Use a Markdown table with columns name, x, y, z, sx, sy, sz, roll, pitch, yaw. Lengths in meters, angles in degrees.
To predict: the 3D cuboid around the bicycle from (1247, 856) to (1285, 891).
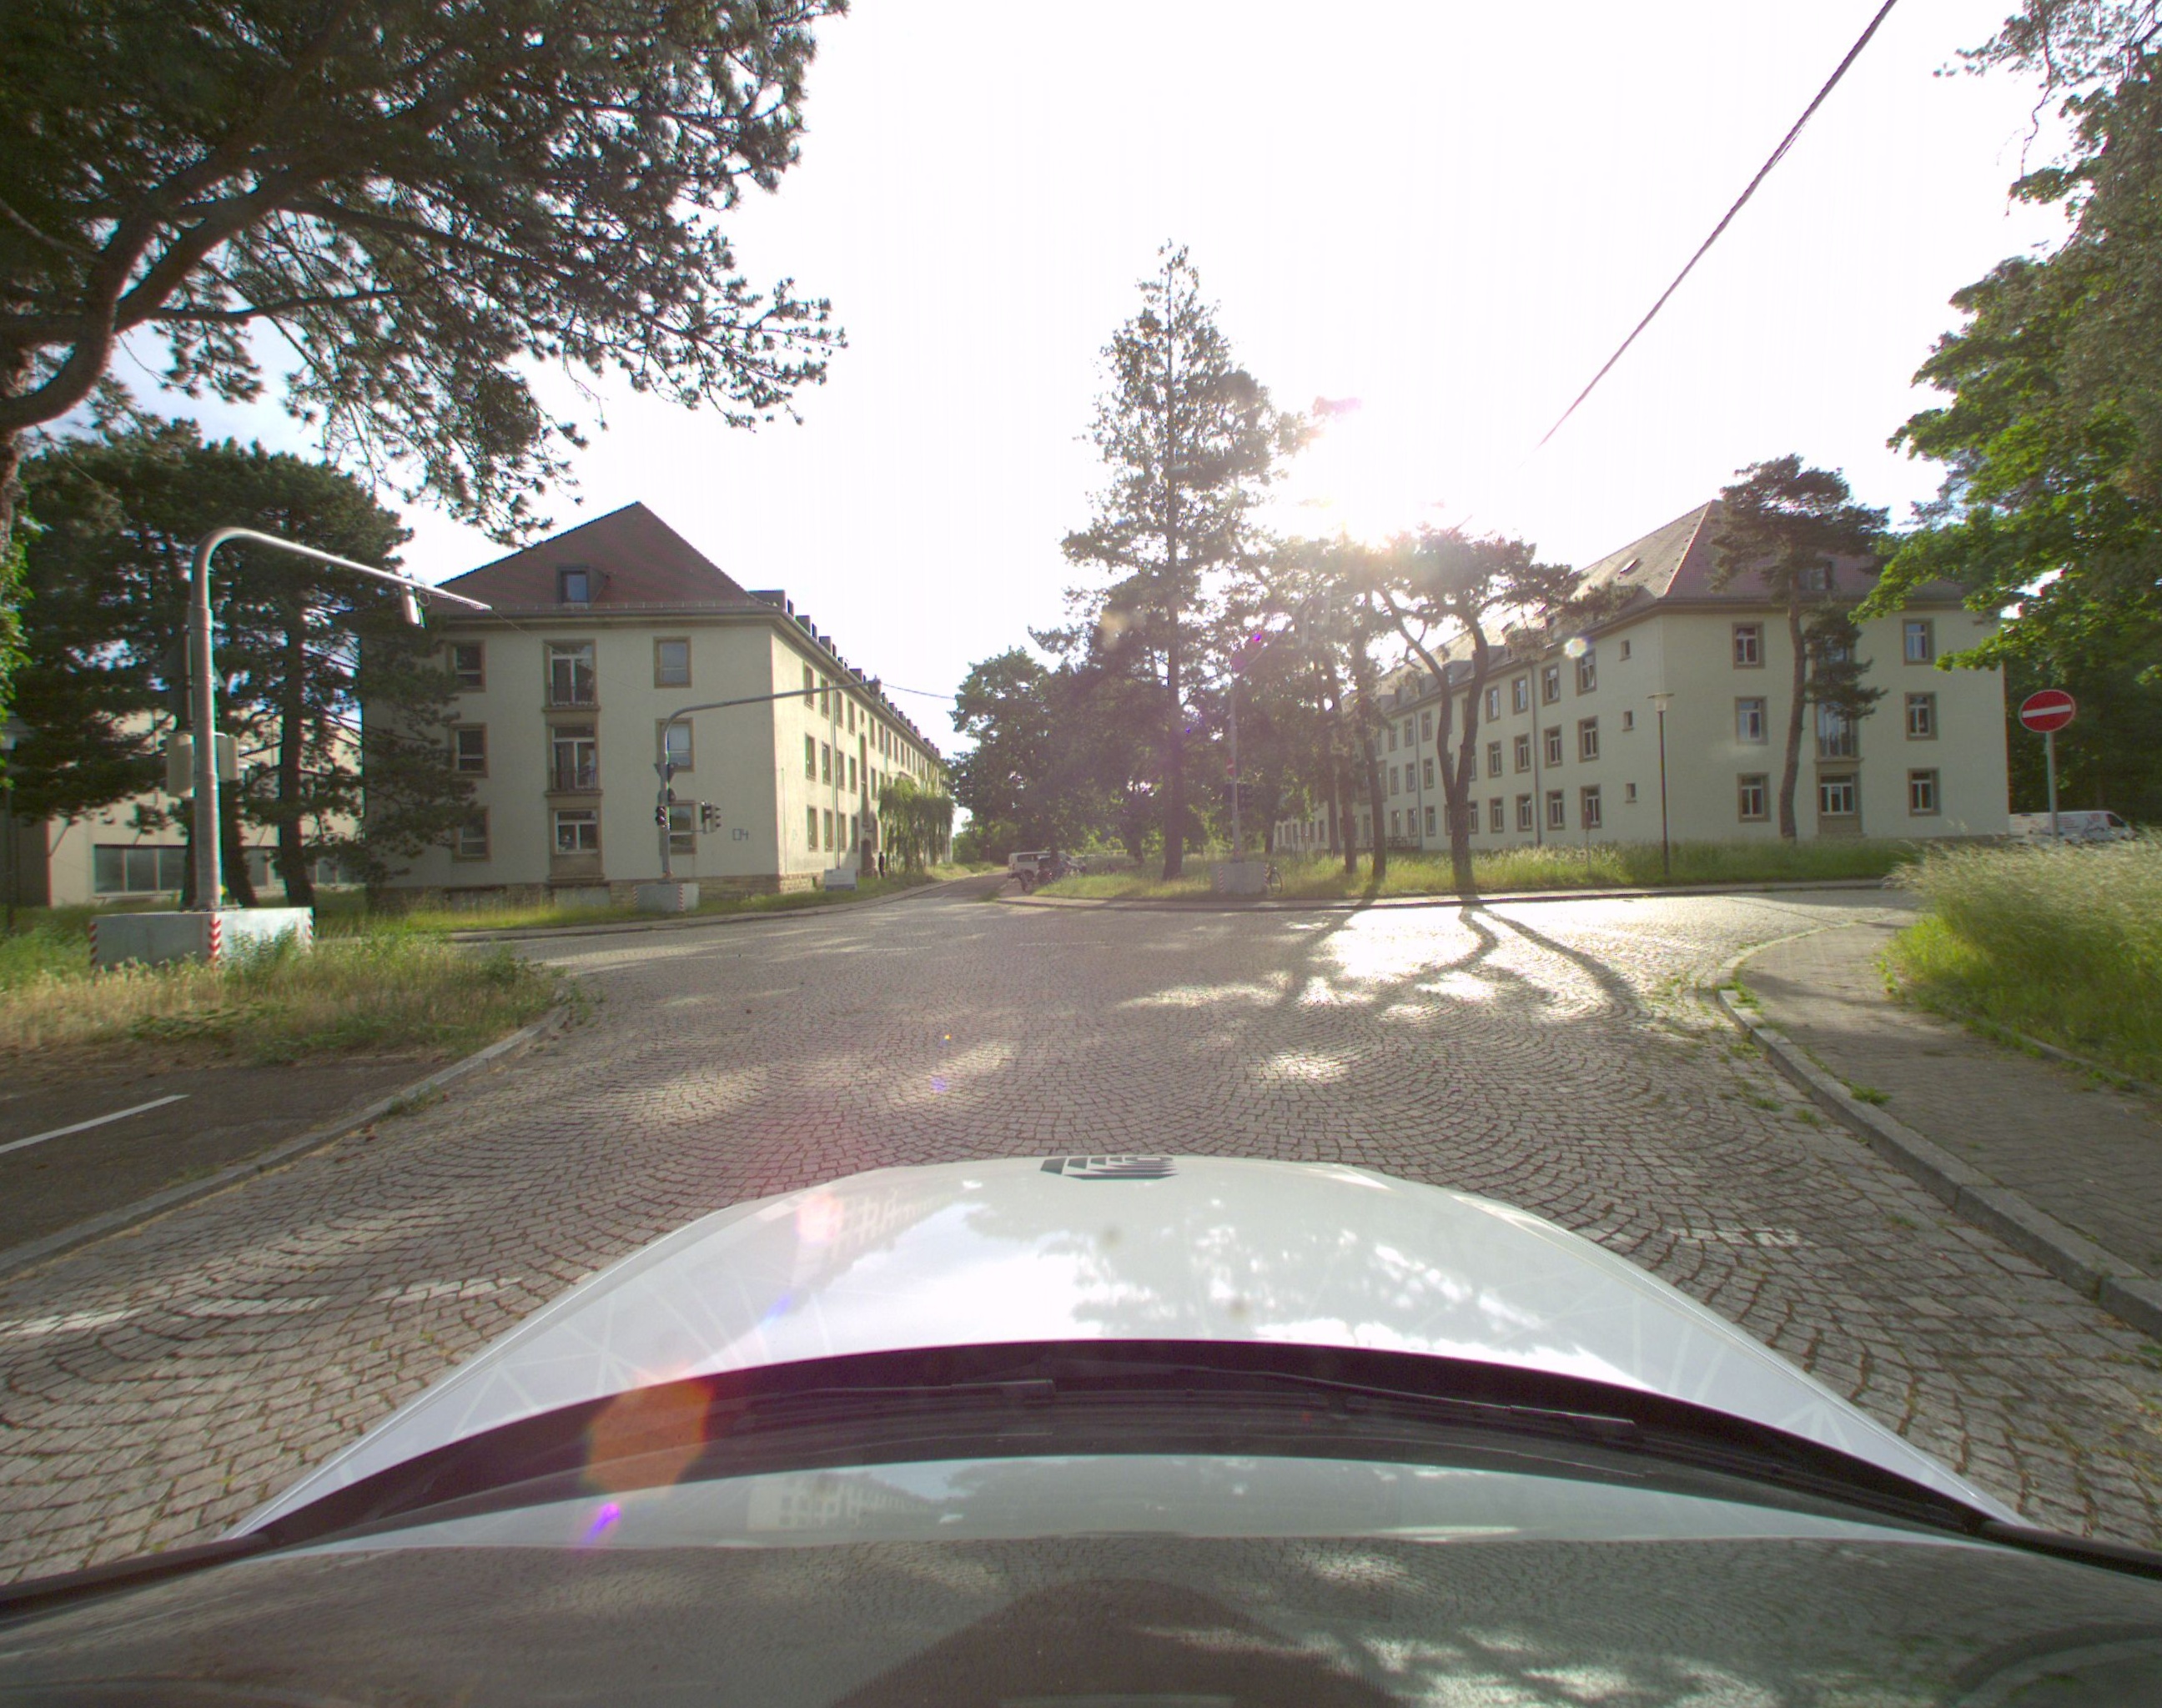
| name | x | y | z | sx | sy | sz | roll | pitch | yaw |
| --- | --- | --- | --- | --- | --- | --- | --- | --- | --- |
| bicycle | 5.694 | 0.589 | 25.122 | 0.562 | 0.999 | 1.748 | -2 | 1 | -7 |

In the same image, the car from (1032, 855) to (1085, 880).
| name | x | y | z | sx | sy | sz | roll | pitch | yaw |
| --- | --- | --- | --- | --- | --- | --- | --- | --- | --- |
| car | -1.431 | 0.861 | 51.234 | 3.038 | 1.465 | 1.710 | -2 | -1 | -16 |

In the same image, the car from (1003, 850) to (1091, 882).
| name | x | y | z | sx | sy | sz | roll | pitch | yaw |
| --- | --- | --- | --- | --- | --- | --- | --- | --- | --- |
| car | -2.281 | 0.801 | 54.750 | 5.514 | 1.916 | 2.241 | -2 | -1 | -17 |

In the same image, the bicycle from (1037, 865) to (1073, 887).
| name | x | y | z | sx | sy | sz | roll | pitch | yaw |
| --- | --- | --- | --- | --- | --- | --- | --- | --- | --- |
| bicycle | -1.350 | 1.136 | 42.119 | 1.789 | 0.999 | 0.643 | -2 | 1 | -5 |

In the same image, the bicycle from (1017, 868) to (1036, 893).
| name | x | y | z | sx | sy | sz | roll | pitch | yaw |
| --- | --- | --- | --- | --- | --- | --- | --- | --- | --- |
| bicycle | -2.340 | 1.126 | 35.200 | 0.726 | 0.999 | 1.797 | -2 | 1 | -3 |

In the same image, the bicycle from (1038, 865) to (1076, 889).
| name | x | y | z | sx | sy | sz | roll | pitch | yaw |
| --- | --- | --- | --- | --- | --- | --- | --- | --- | --- |
| bicycle | -1.156 | 1.094 | 38.869 | 1.789 | 0.999 | 0.643 | -2 | 1 | -5 |

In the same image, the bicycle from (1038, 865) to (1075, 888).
| name | x | y | z | sx | sy | sz | roll | pitch | yaw |
| --- | --- | --- | --- | --- | --- | --- | --- | --- | --- |
| bicycle | -1.209 | 1.108 | 39.887 | 1.789 | 0.999 | 0.643 | -2 | 1 | -5 |

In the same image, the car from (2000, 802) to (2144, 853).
| name | x | y | z | sx | sy | sz | roll | pitch | yaw |
| --- | --- | --- | --- | --- | --- | --- | --- | --- | --- |
| car | 53.889 | -1.408 | 44.356 | 5.145 | 2.536 | 2.262 | -2 | -1 | -2 |

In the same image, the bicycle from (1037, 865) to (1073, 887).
| name | x | y | z | sx | sy | sz | roll | pitch | yaw |
| --- | --- | --- | --- | --- | --- | --- | --- | --- | --- |
| bicycle | -1.319 | 1.128 | 41.381 | 1.789 | 0.999 | 0.643 | -2 | 1 | -5 |

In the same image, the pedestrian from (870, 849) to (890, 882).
| name | x | y | z | sx | sy | sz | roll | pitch | yaw |
| --- | --- | --- | --- | --- | --- | --- | --- | --- | --- |
| pedestrian | -12.447 | 0.709 | 50.520 | 0.983 | 1.963 | 0.931 | -2 | -1 | -4 |
